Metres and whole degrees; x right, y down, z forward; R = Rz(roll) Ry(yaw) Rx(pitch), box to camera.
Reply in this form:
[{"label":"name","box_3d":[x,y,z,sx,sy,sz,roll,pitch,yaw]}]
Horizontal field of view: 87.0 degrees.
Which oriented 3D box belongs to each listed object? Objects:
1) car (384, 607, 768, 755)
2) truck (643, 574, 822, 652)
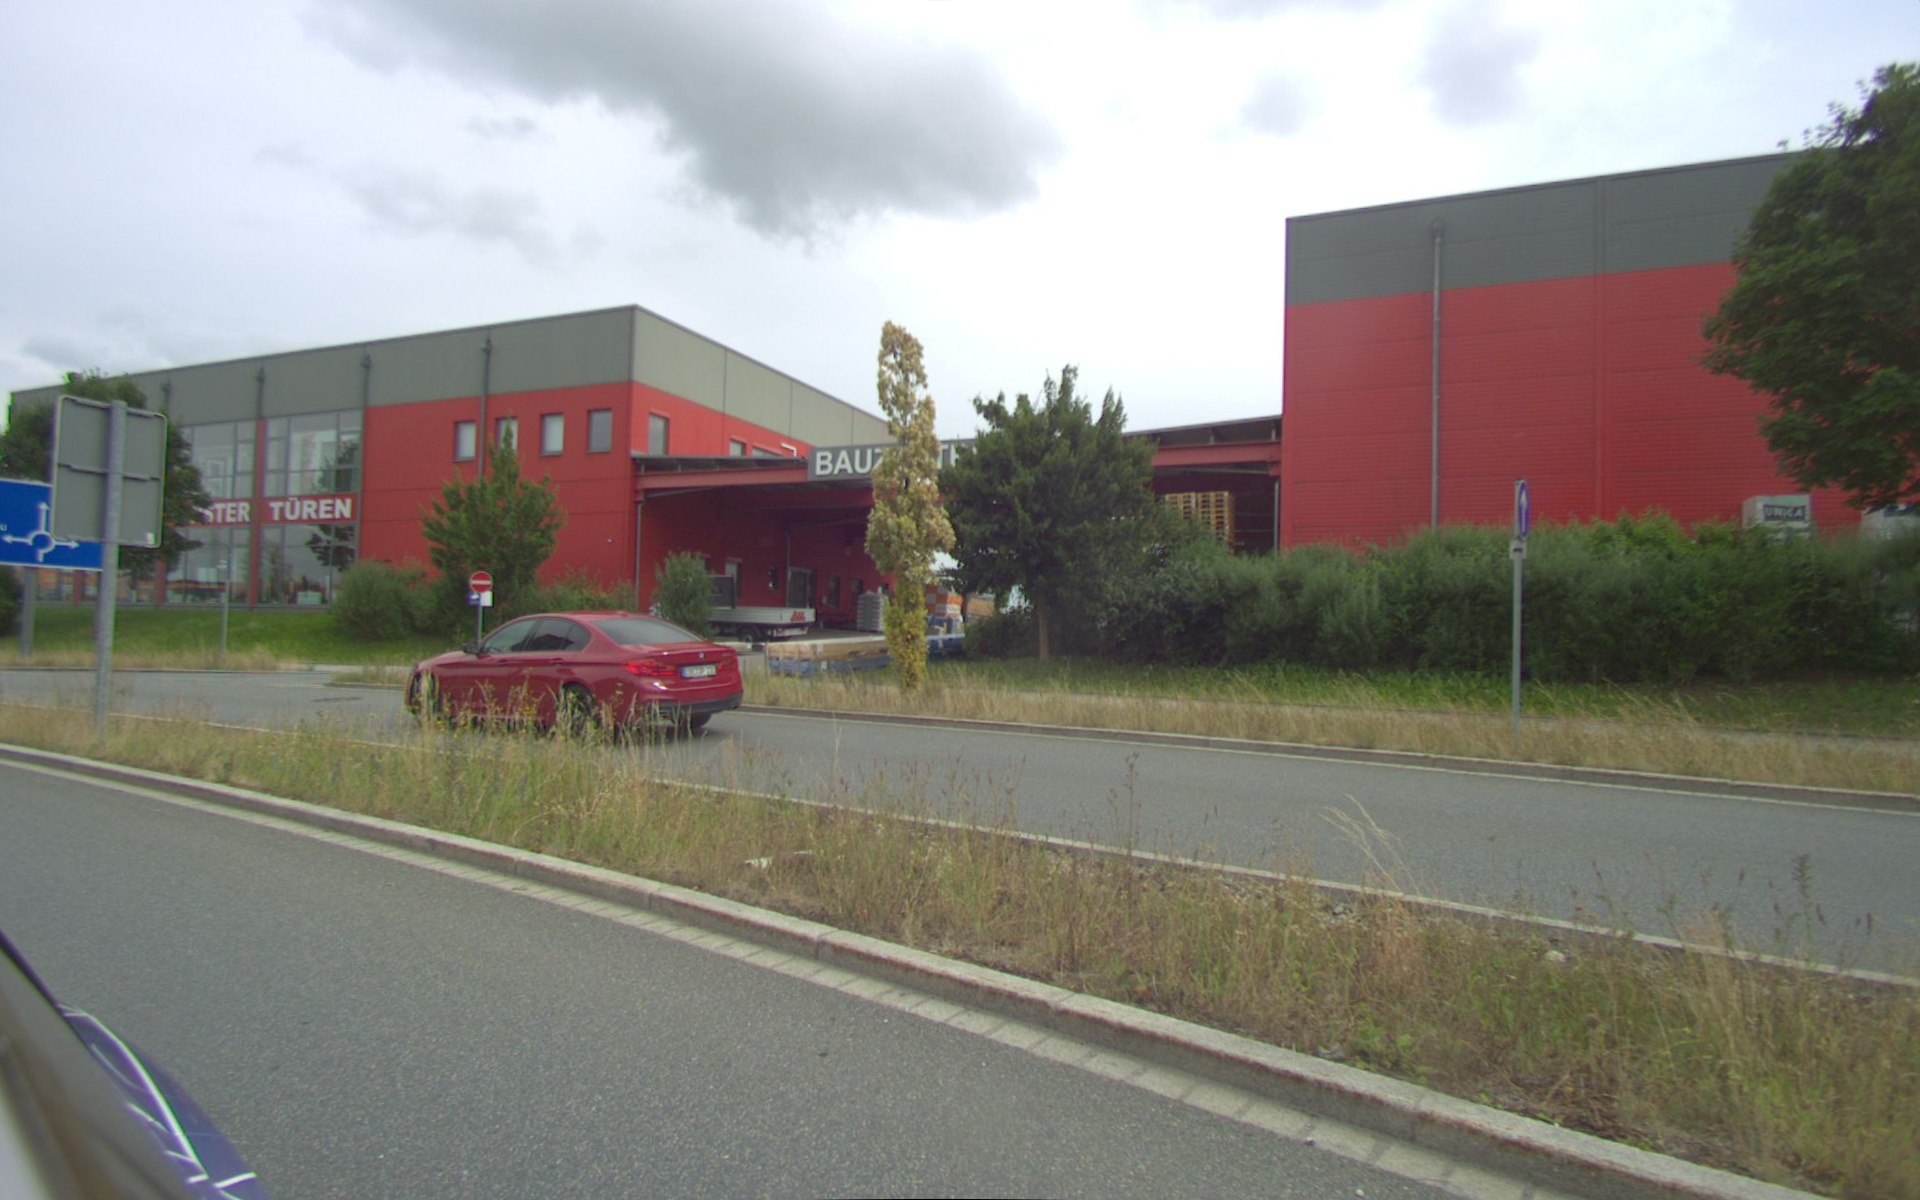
[{"label":"car","box_3d":[-4.800,0.854,12.360,4.956,1.458,1.777,-1,1,32]},{"label":"truck","box_3d":[-7.781,0.428,34.569,5.869,2.506,2.024,0,-1,23]}]
